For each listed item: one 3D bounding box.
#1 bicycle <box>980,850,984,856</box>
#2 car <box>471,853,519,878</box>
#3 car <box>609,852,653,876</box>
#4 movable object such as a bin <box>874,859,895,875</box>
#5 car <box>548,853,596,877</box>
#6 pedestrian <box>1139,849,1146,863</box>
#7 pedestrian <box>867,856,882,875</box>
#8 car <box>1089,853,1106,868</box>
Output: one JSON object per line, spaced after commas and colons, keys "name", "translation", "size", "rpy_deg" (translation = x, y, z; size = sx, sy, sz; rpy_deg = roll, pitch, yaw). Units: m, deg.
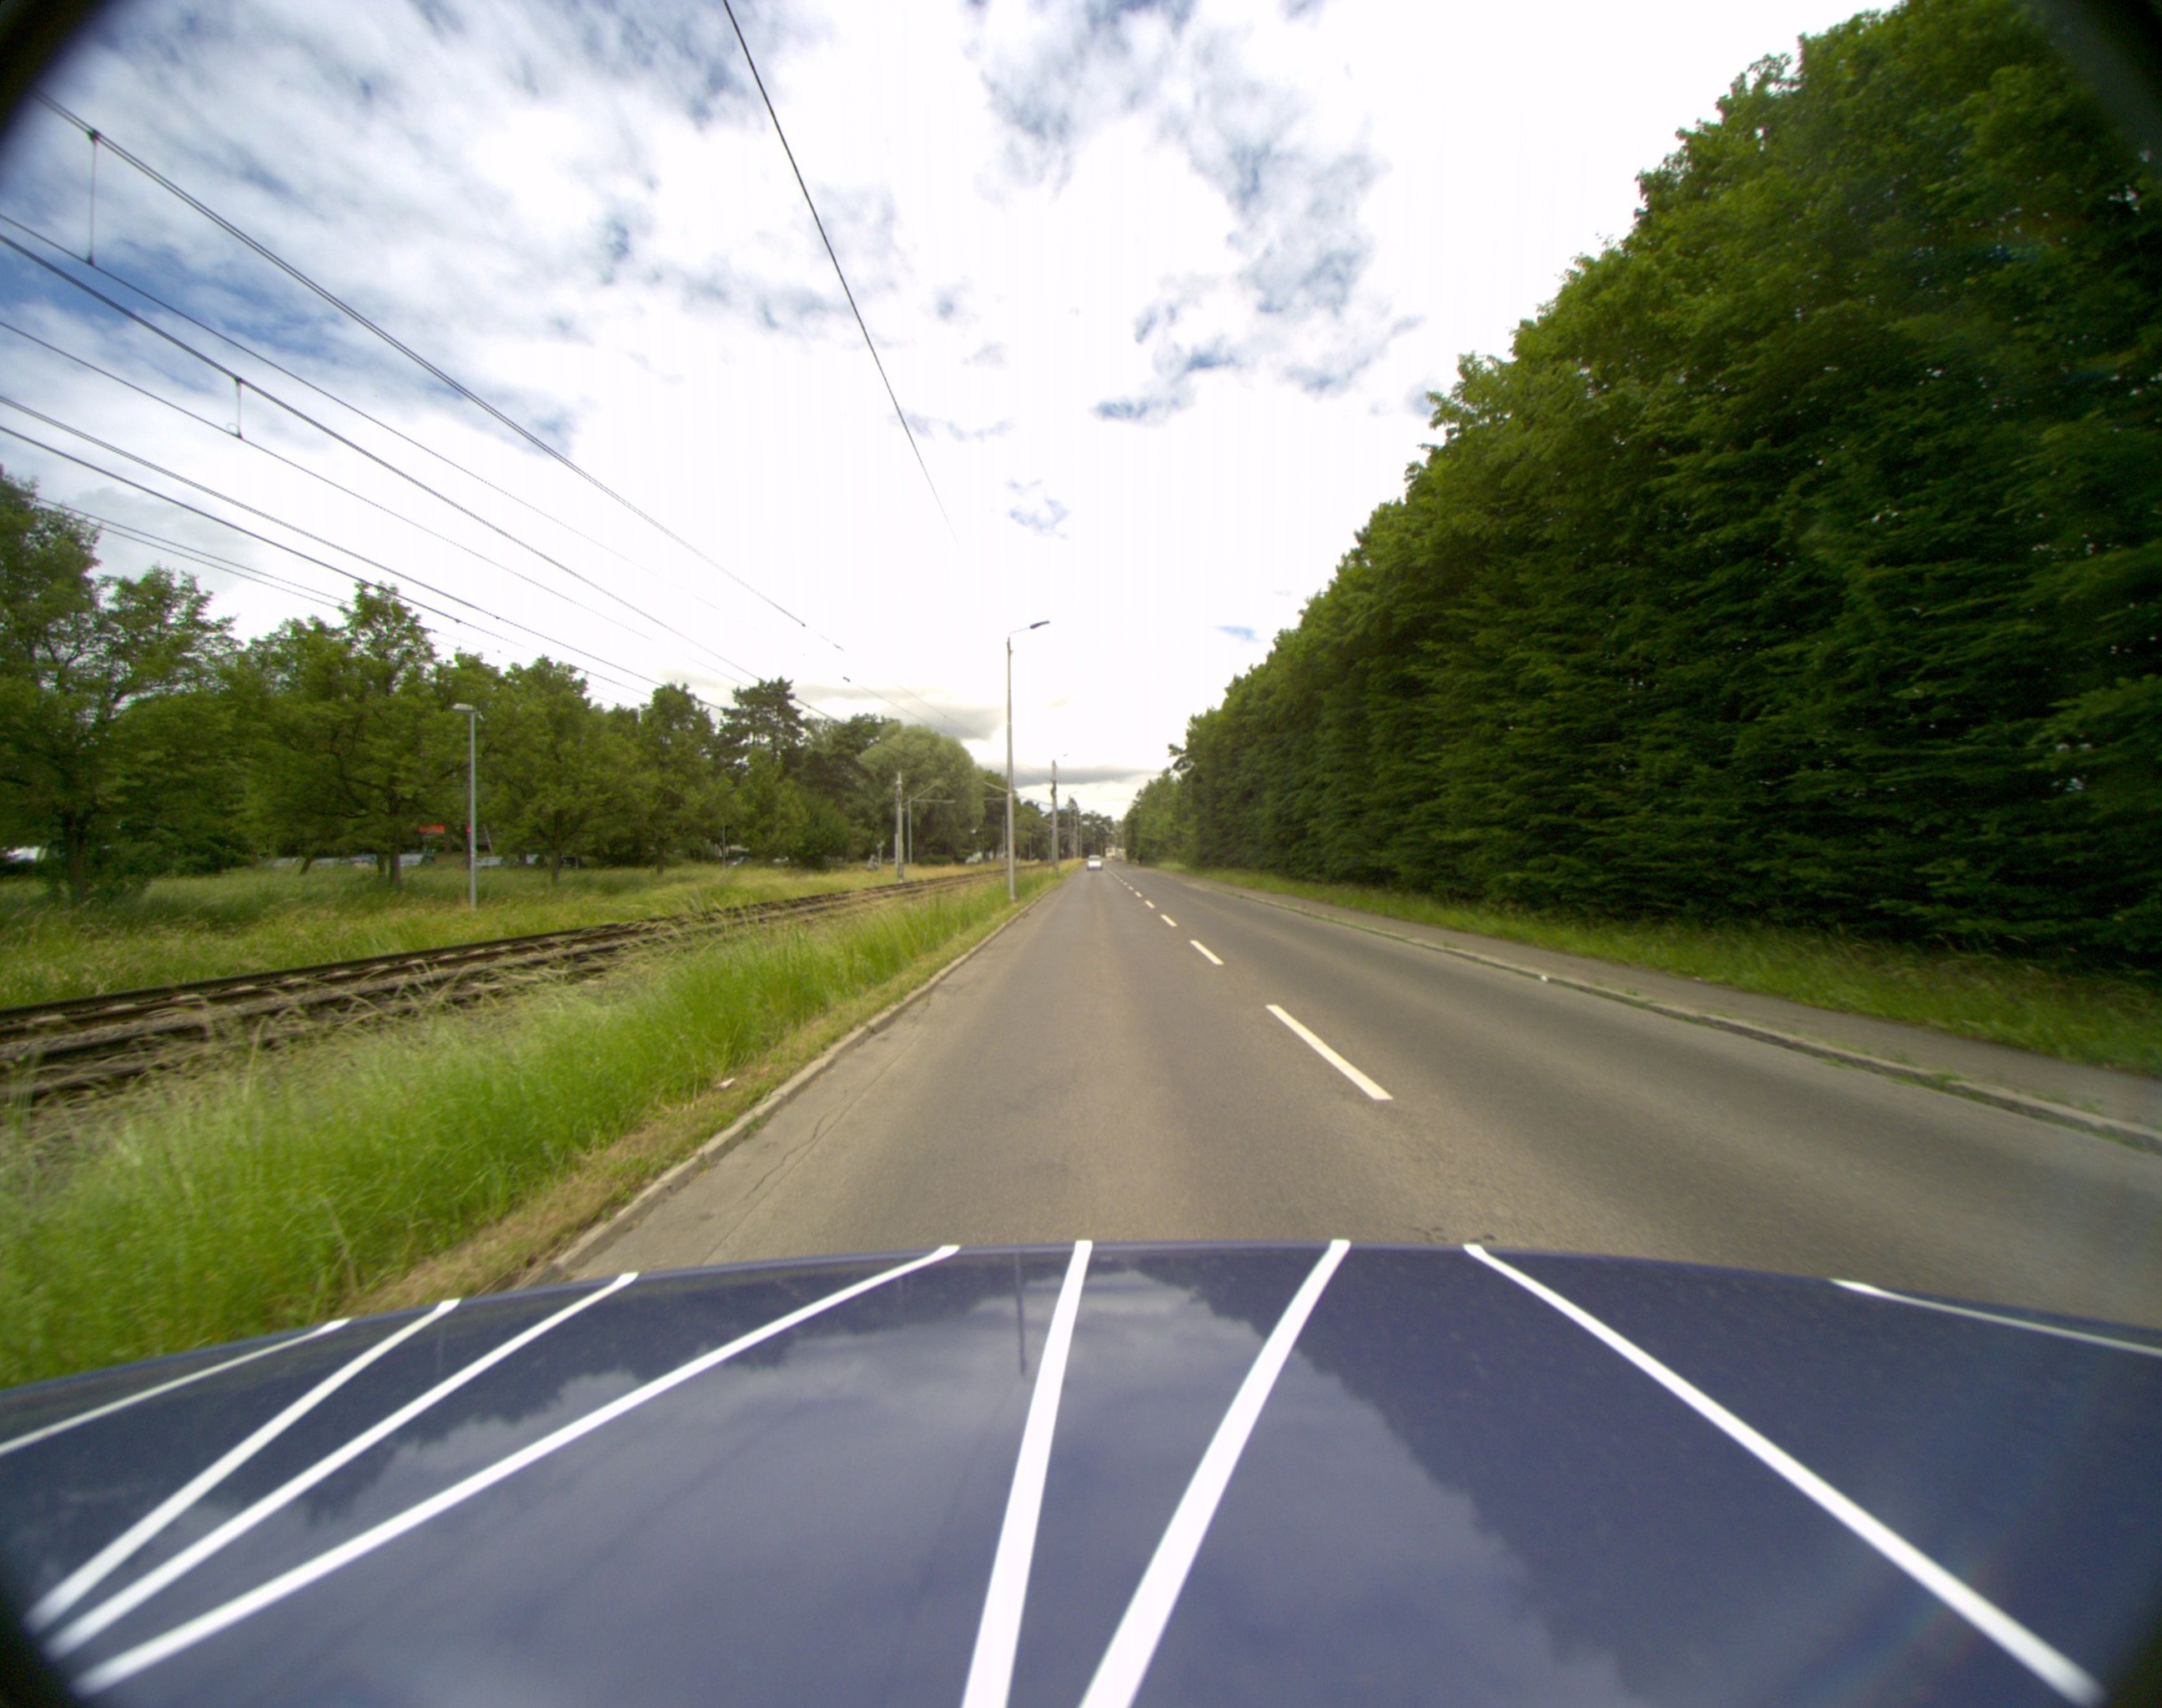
{"name": "bicycle", "translation": [-19.925, -0.236, 153.469], "size": [0.582, 1.239, 1.929], "rpy_deg": [0, 0, -2]}
{"name": "car", "translation": [-45.759, 0.887, 59.420], "size": [2.002, 1.801, 3.992], "rpy_deg": [-1, 0, -24]}
{"name": "car", "translation": [-35.601, 0.785, 60.257], "size": [1.750, 1.793, 3.996], "rpy_deg": [-1, 0, -11]}
{"name": "movable object such as a bin", "translation": [-17.033, 1.138, 65.981], "size": [0.658, 1.303, 1.646], "rpy_deg": [0, 1, 42]}
{"name": "car", "translation": [-40.286, 0.849, 60.214], "size": [1.750, 1.793, 3.996], "rpy_deg": [-1, 0, -11]}
{"name": "pedestrian", "translation": [8.410, 0.272, 103.935], "size": [0.870, 1.759, 0.789], "rpy_deg": [-2, 0, -5]}
{"name": "pedestrian", "translation": [-17.719, 0.990, 65.196], "size": [0.656, 1.657, 0.960], "rpy_deg": [0, 1, 42]}
{"name": "car", "translation": [1.816, 0.758, 85.858], "size": [1.734, 1.638, 4.226], "rpy_deg": [-1, -1, -1]}
